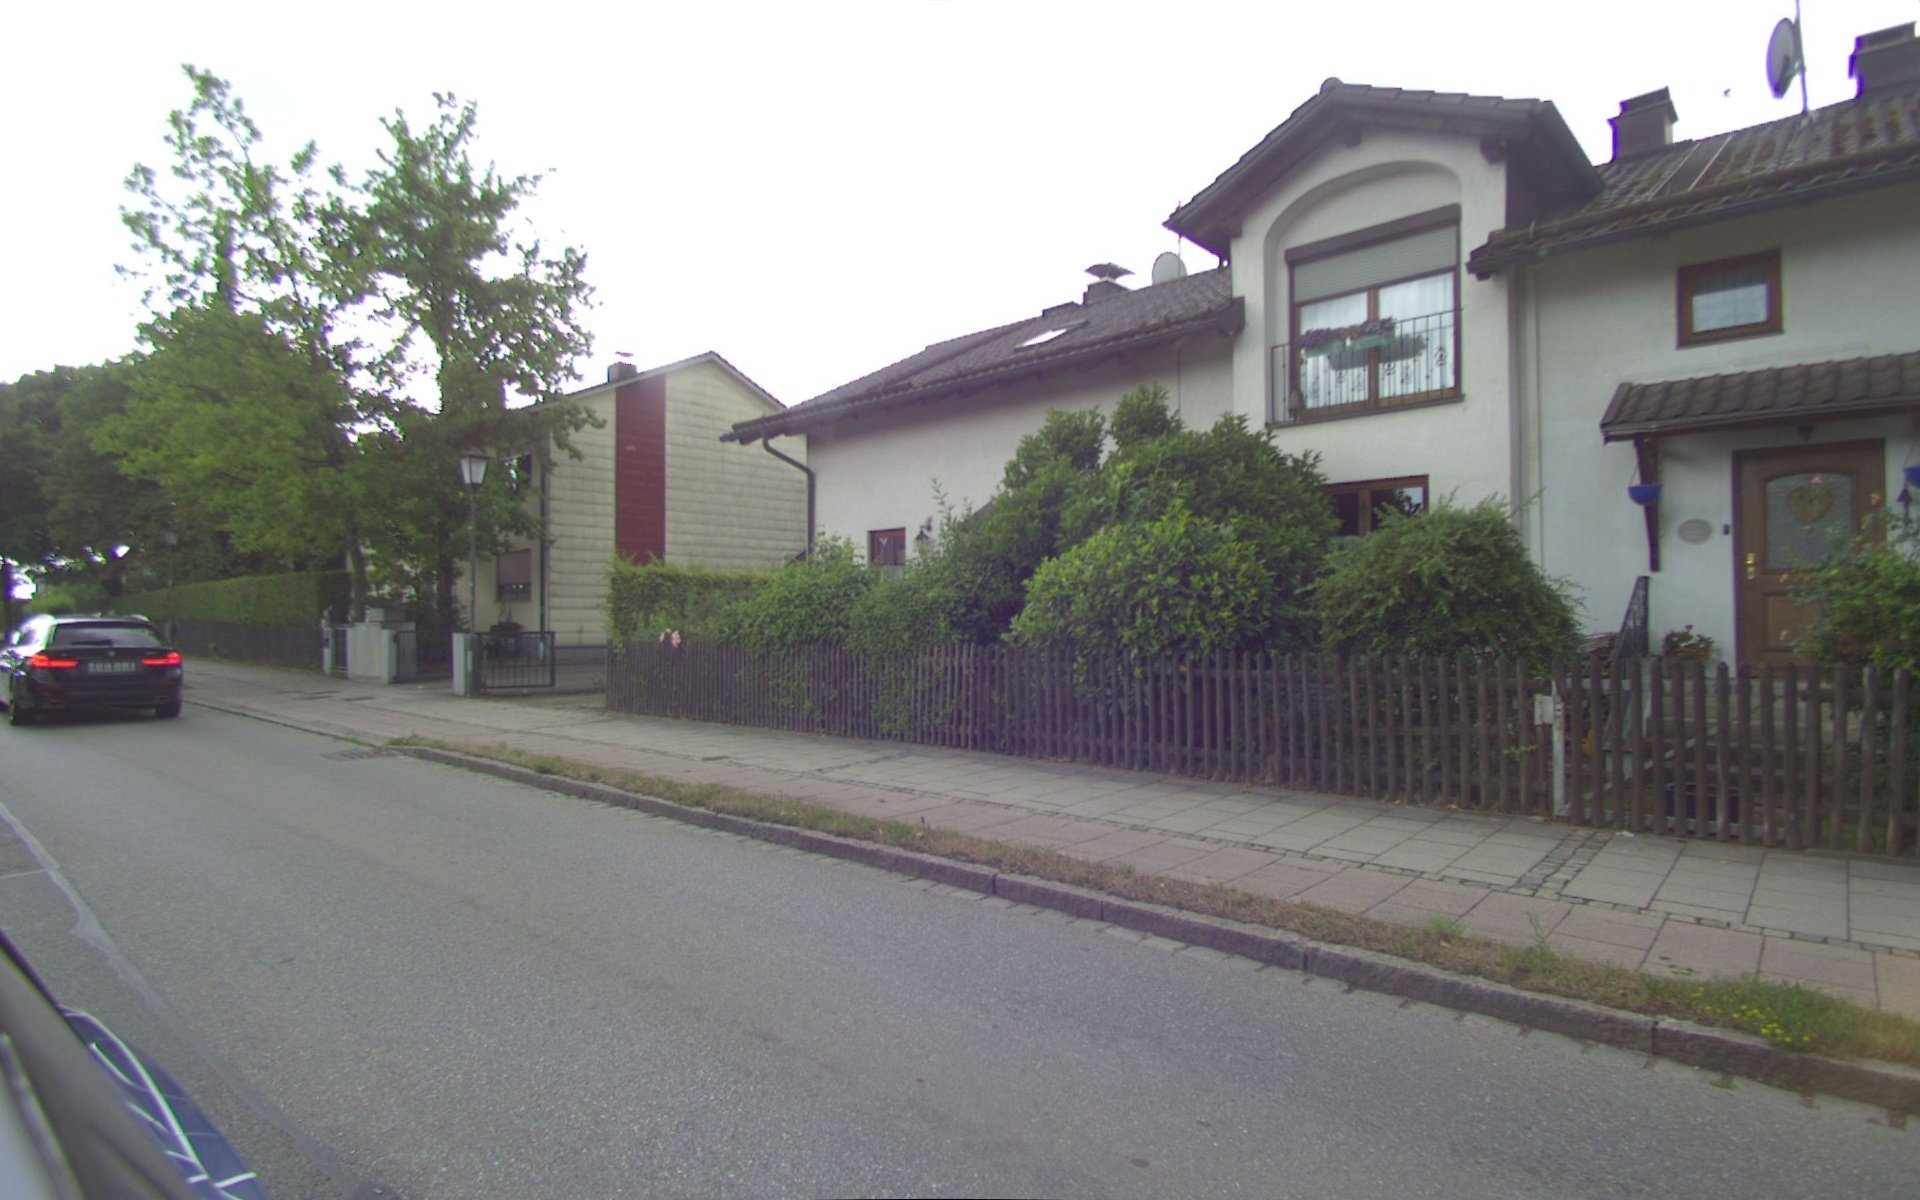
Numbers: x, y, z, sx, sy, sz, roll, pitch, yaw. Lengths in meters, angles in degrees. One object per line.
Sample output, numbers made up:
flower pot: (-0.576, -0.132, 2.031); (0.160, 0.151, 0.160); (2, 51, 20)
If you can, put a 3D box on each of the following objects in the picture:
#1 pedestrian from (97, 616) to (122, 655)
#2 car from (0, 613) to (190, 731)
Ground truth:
pedestrian: (-31.728, 1.324, 37.752); (0.563, 1.448, 0.623); (-1, -1, 41)
car: (-12.954, 0.937, 14.858); (4.548, 1.465, 1.826); (-1, -1, 42)
